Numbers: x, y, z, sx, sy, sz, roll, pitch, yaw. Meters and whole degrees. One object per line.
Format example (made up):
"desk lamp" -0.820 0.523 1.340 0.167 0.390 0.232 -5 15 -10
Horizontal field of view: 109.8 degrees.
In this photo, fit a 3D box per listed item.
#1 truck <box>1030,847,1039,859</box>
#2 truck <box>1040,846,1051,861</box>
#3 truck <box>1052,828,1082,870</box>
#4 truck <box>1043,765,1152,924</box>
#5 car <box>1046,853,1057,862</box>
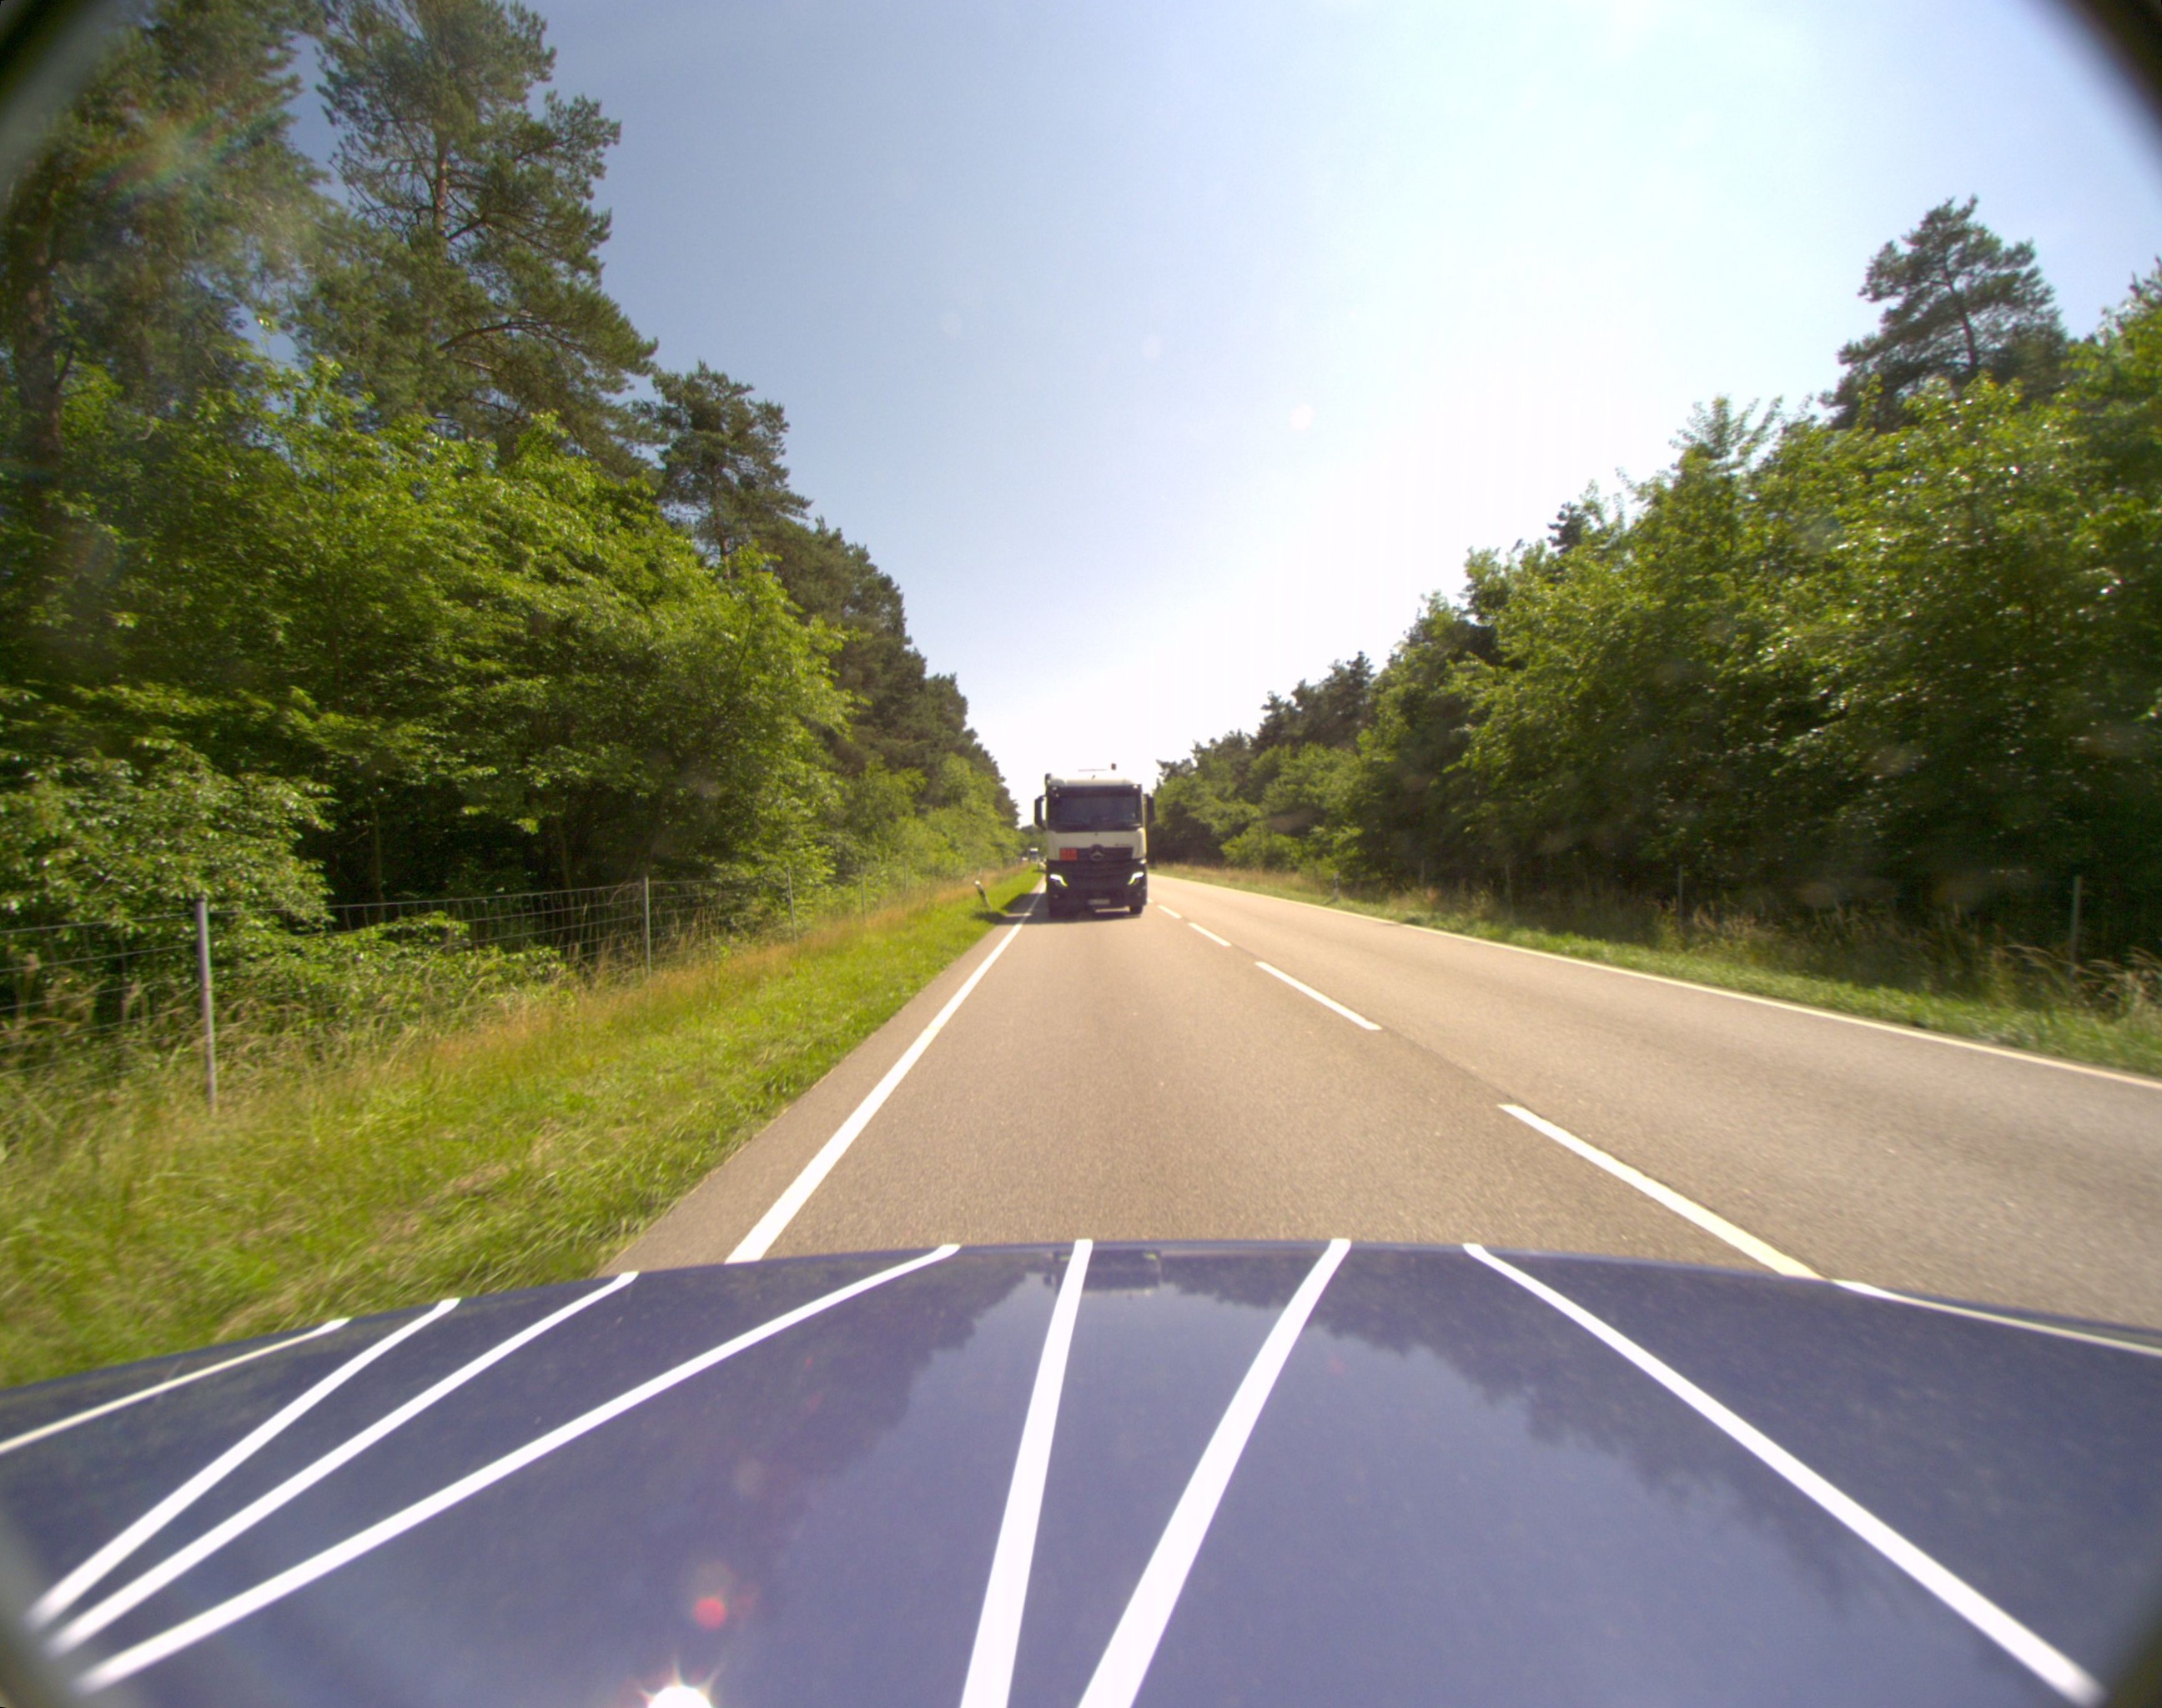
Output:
"truck" -14.158 -0.399 233.349 2.495 3.619 6.100 -2 0 -5
"truck" -9.067 -0.186 193.775 2.495 3.619 6.101 -1 0 -4
"truck" -1.351 -0.442 71.057 2.495 3.698 6.222 1 0 -4
"truck" 0.300 -0.223 21.196 2.435 3.672 6.456 -2 0 -2
"car" -5.383 0.673 137.497 1.885 1.462 3.999 -2 0 -2
